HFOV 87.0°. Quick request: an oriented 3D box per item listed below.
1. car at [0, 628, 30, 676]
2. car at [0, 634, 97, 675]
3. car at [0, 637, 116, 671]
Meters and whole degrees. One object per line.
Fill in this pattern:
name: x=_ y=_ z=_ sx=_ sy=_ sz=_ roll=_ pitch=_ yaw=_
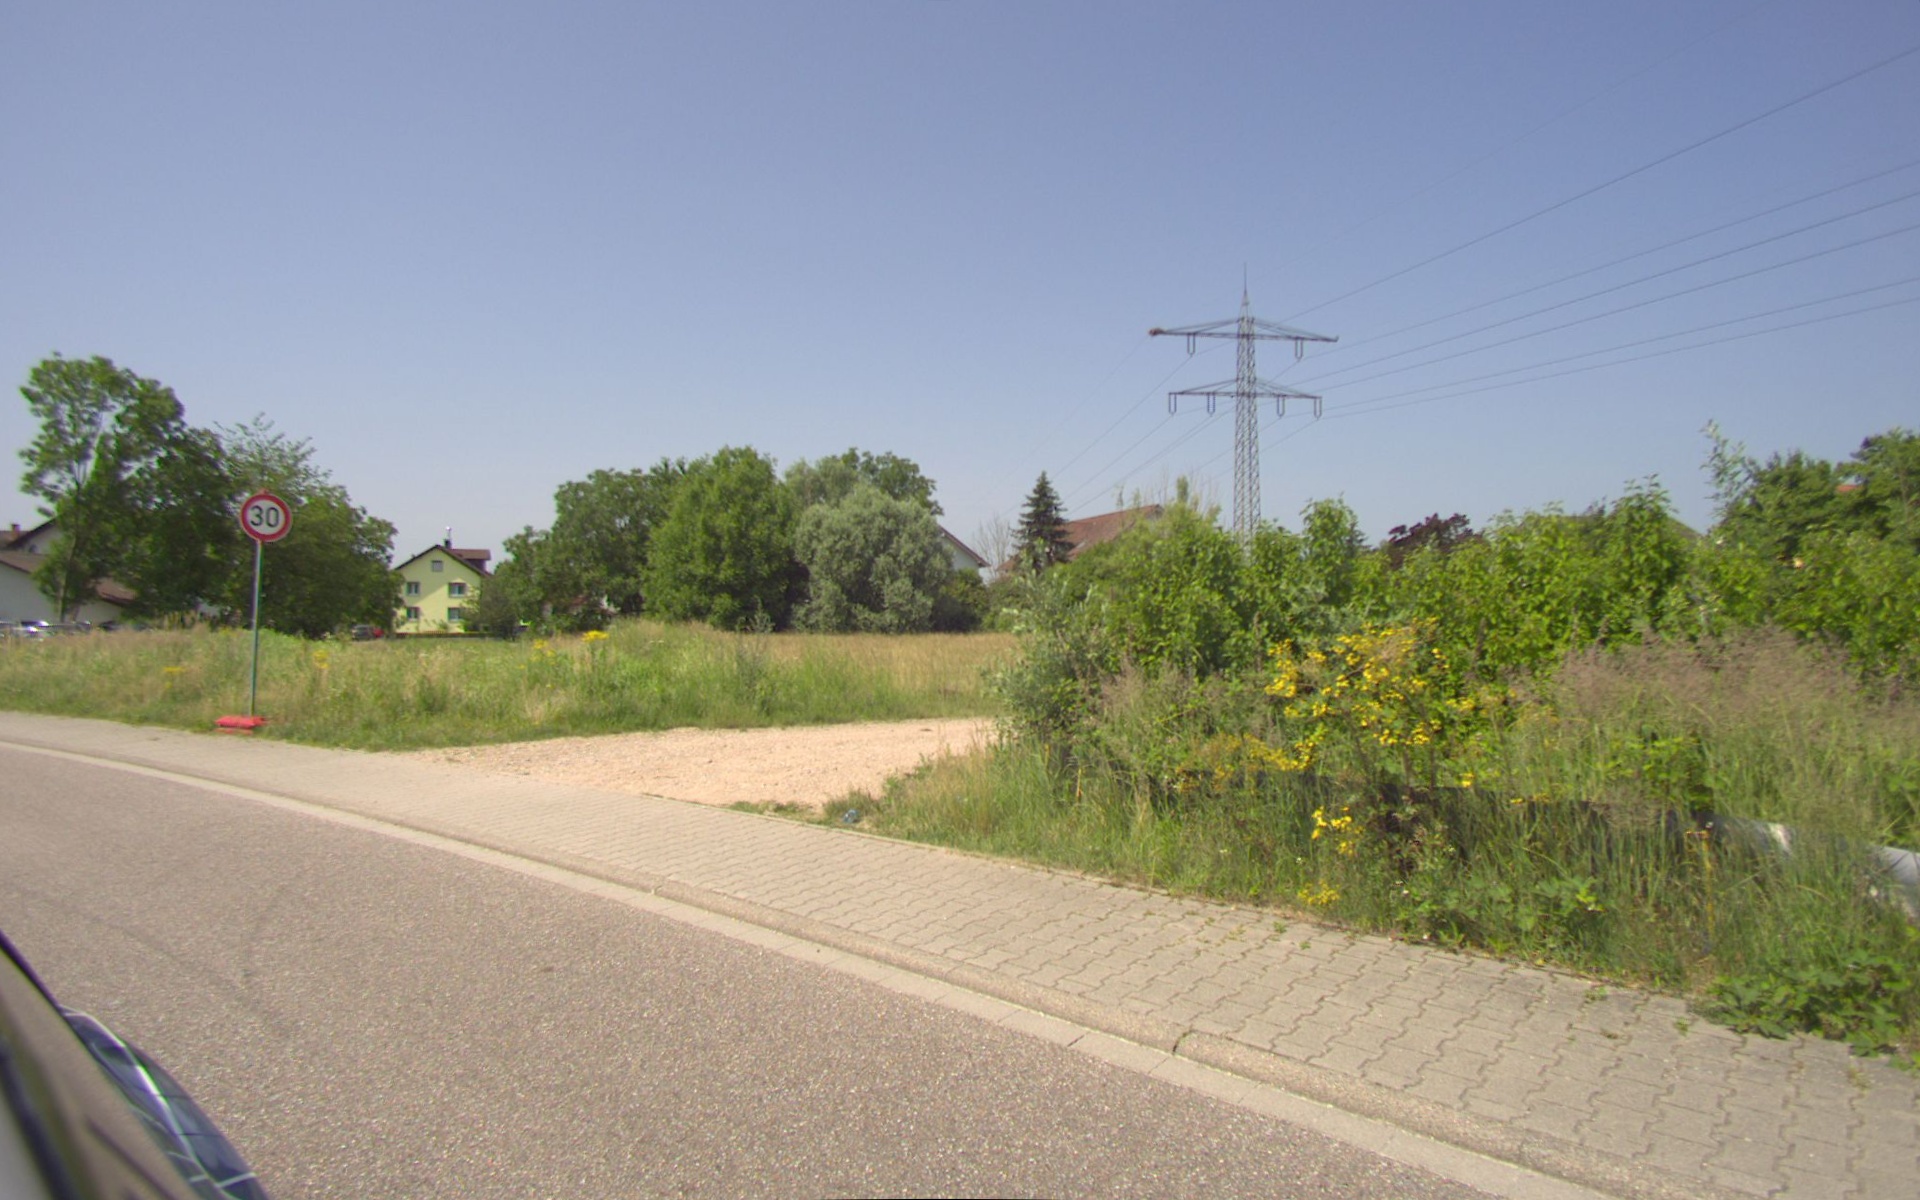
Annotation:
car: x=-33.678 y=1.765 z=33.874 sx=3.404 sy=1.596 sz=1.586 roll=0 pitch=-1 yaw=-12
car: x=-35.943 y=2.084 z=38.720 sx=3.934 sy=1.510 sz=2.005 roll=0 pitch=-2 yaw=-12
car: x=-38.771 y=2.302 z=43.294 sx=3.684 sy=1.326 sz=1.825 roll=0 pitch=-1 yaw=-12
